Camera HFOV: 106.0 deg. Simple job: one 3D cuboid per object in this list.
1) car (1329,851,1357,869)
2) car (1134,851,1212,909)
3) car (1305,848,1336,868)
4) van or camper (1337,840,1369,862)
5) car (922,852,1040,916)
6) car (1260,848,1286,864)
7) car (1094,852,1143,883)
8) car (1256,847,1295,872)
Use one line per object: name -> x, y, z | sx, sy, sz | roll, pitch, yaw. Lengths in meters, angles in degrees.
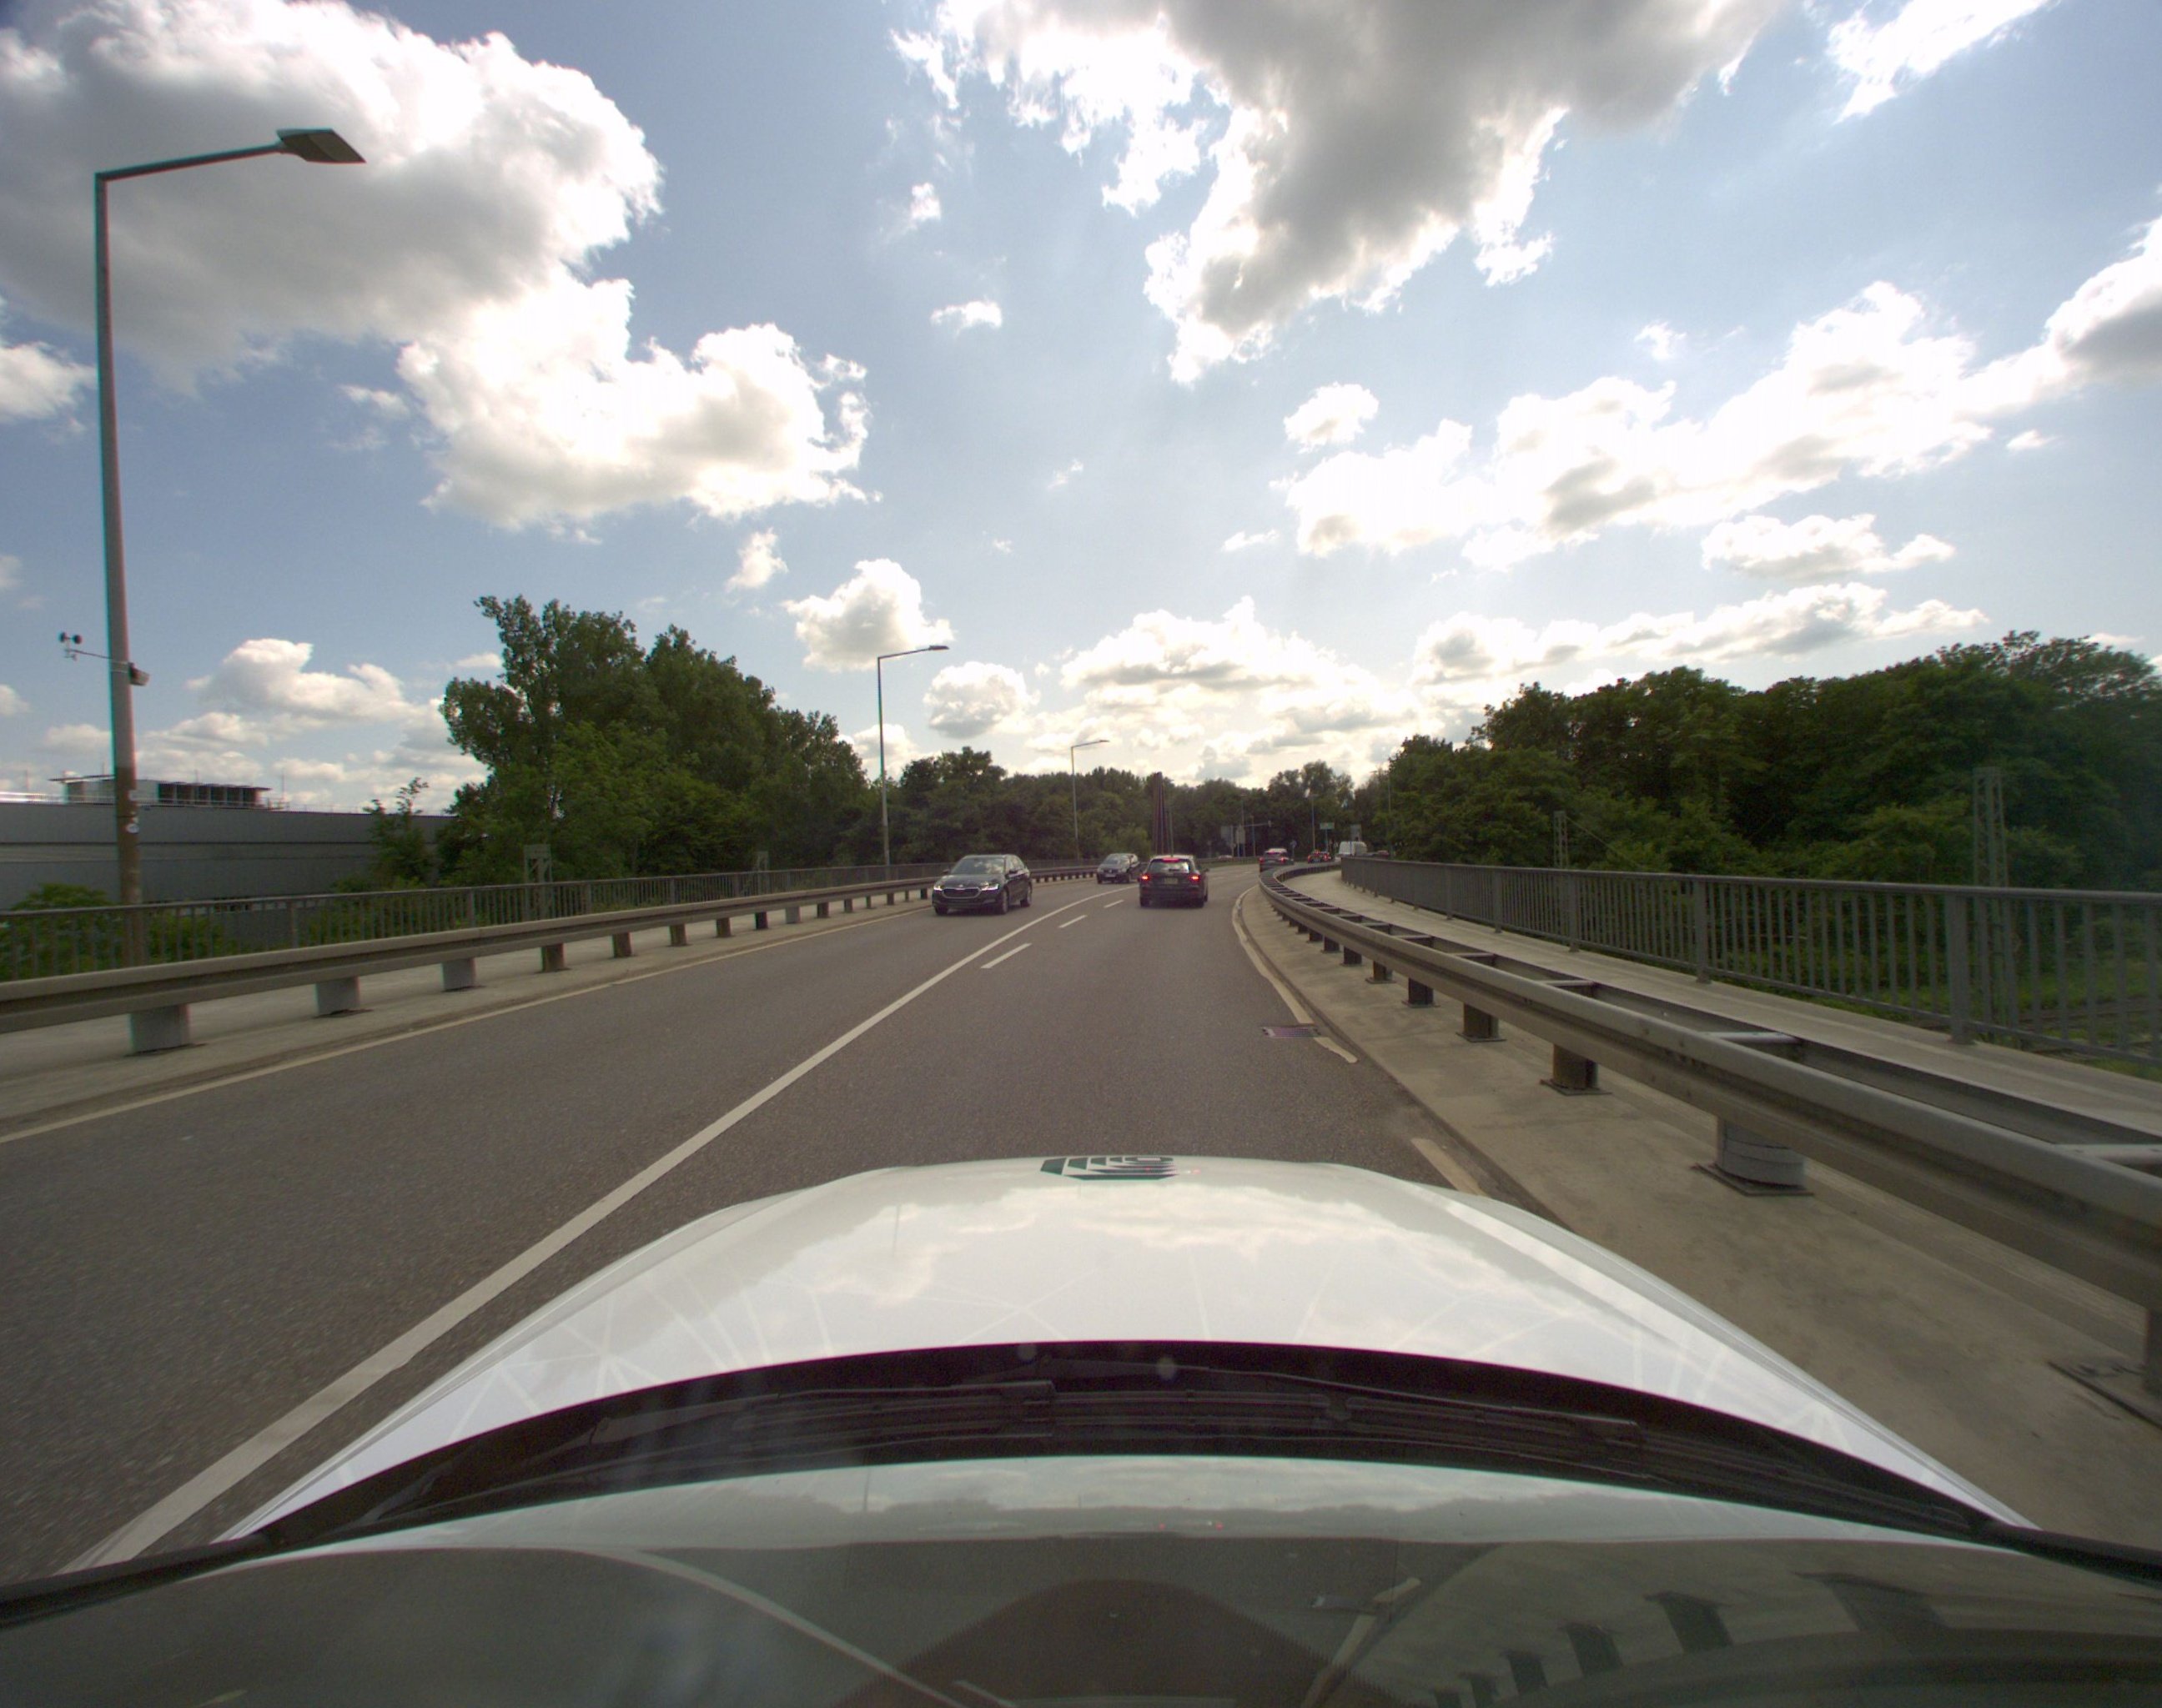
car -> 25.435, 0.590, 79.029 | 1.717, 1.651, 3.880 | -2, 0, 30
car -> 2.786, 0.682, 23.870 | 1.815, 1.491, 4.221 | 0, 1, 12
car -> 20.854, 0.345, 70.795 | 1.717, 1.651, 3.880 | 0, 0, 31
van or camper -> 30.905, -0.340, 92.469 | 2.251, 2.341, 5.273 | 0, -1, 32
car -> -2.499, 0.704, 21.583 | 1.806, 1.451, 4.750 | 0, 1, 10
car -> 20.609, 0.189, 87.439 | 1.796, 1.754, 4.331 | 0, 0, 26
car -> 1.907, 0.645, 40.494 | 1.802, 1.452, 3.939 | 0, 0, 12
car -> 13.668, 0.368, 57.060 | 1.804, 1.651, 3.878 | 0, 0, 26
